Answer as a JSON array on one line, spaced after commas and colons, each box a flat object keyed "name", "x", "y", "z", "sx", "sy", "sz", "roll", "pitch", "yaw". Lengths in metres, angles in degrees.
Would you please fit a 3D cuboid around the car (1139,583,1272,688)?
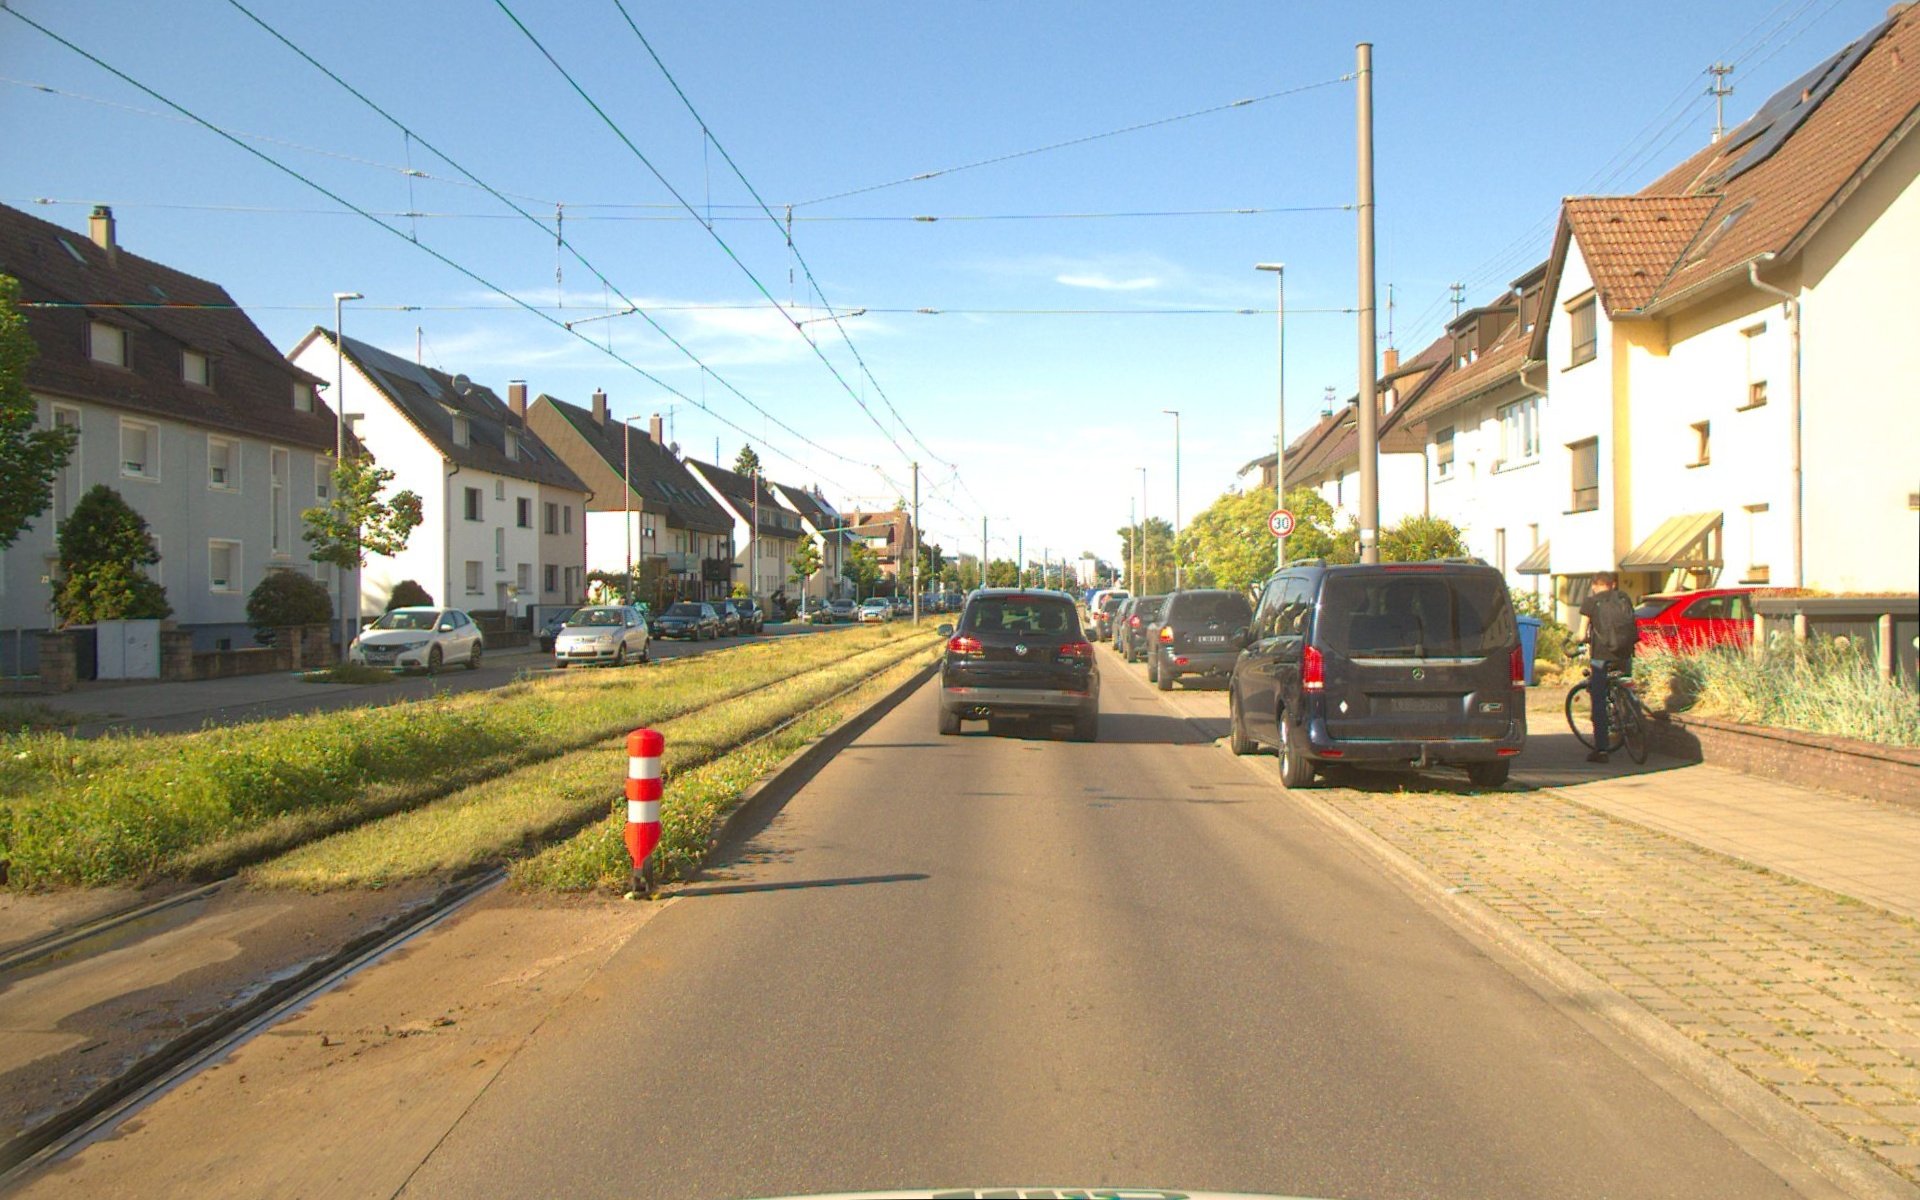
[{"name": "car", "x": 4.246, "y": 0.570, "z": 29.205, "sx": 1.815, "sy": 1.688, "sz": 4.475, "roll": -1, "pitch": 0, "yaw": 2}]

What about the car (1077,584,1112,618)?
[{"name": "car", "x": 7.881, "y": 0.037, "z": 97.186, "sx": 1.952, "sy": 1.894, "sz": 4.919, "roll": -1, "pitch": 0, "yaw": 3}]

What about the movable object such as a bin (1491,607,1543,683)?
[{"name": "movable object such as a bin", "x": 8.527, "y": 0.685, "z": 25.339, "sx": 0.654, "sy": 1.133, "sz": 0.318, "roll": -2, "pitch": 0, "yaw": 3}]

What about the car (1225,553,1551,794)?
[{"name": "car", "x": 3.742, "y": 0.570, "z": 15.421, "sx": 1.921, "sy": 1.868, "sz": 4.928, "roll": -1, "pitch": 0, "yaw": 2}]

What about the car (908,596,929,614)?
[{"name": "car", "x": -3.917, "y": 0.450, "z": 155.651, "sx": 1.625, "sy": 1.609, "sz": 4.001, "roll": -1, "pitch": -2, "yaw": 4}]

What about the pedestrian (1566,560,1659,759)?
[{"name": "pedestrian", "x": 5.915, "y": 0.526, "z": 15.010, "sx": 0.570, "sy": 1.753, "sz": 0.715, "roll": -1, "pitch": 0, "yaw": 3}]

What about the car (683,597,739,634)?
[{"name": "car", "x": -10.595, "y": 0.630, "z": 70.640, "sx": 1.488, "sy": 1.501, "sz": 4.203, "roll": 0, "pitch": 0, "yaw": 4}]

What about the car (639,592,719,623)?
[{"name": "car", "x": -15.313, "y": 0.382, "z": 90.319, "sx": 4.080, "sy": 1.645, "sz": 1.759, "roll": -1, "pitch": 0, "yaw": -1}]

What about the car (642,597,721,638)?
[{"name": "car", "x": -10.931, "y": 0.664, "z": 65.189, "sx": 1.837, "sy": 1.549, "sz": 4.883, "roll": 0, "pitch": 0, "yaw": 6}]

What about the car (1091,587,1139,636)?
[{"name": "car", "x": 5.948, "y": 0.407, "z": 63.776, "sx": 1.654, "sy": 1.808, "sz": 4.658, "roll": -1, "pitch": 0, "yaw": 4}]

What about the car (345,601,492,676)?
[{"name": "car", "x": -12.060, "y": 0.817, "z": 37.121, "sx": 1.657, "sy": 1.544, "sz": 4.216, "roll": -1, "pitch": 0, "yaw": 4}]

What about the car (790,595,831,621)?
[{"name": "car", "x": -8.821, "y": 0.471, "z": 97.553, "sx": 1.584, "sy": 1.478, "sz": 3.721, "roll": -1, "pitch": 0, "yaw": 8}]

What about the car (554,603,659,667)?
[{"name": "car", "x": -8.500, "y": 0.820, "z": 40.003, "sx": 1.517, "sy": 1.436, "sz": 3.661, "roll": -1, "pitch": 0, "yaw": 4}]

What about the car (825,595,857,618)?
[{"name": "car", "x": -7.920, "y": 0.445, "z": 110.276, "sx": 1.585, "sy": 1.434, "sz": 3.719, "roll": -1, "pitch": -2, "yaw": 4}]

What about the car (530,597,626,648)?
[{"name": "car", "x": -11.716, "y": 0.663, "z": 50.974, "sx": 1.753, "sy": 1.488, "sz": 4.168, "roll": -1, "pitch": 0, "yaw": 4}]

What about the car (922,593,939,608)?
[{"name": "car", "x": -2.858, "y": 0.053, "z": 161.001, "sx": 1.483, "sy": 1.385, "sz": 3.591, "roll": -1, "pitch": 0, "yaw": 2}]

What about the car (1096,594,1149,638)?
[{"name": "car", "x": 5.666, "y": 0.558, "z": 58.073, "sx": 1.636, "sy": 1.478, "sz": 4.127, "roll": -1, "pitch": 0, "yaw": 3}]

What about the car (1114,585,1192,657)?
[{"name": "car", "x": 4.607, "y": 0.473, "z": 39.892, "sx": 1.631, "sy": 1.574, "sz": 3.837, "roll": -3, "pitch": 0, "yaw": 4}]

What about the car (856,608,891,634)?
[{"name": "car", "x": -5.225, "y": 1.300, "z": 100.026, "sx": 1.672, "sy": 1.517, "sz": 4.025, "roll": -1, "pitch": -2, "yaw": 4}]

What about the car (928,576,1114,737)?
[{"name": "car", "x": 0.619, "y": 0.617, "z": 19.923, "sx": 1.776, "sy": 1.700, "sz": 4.254, "roll": 1, "pitch": 0, "yaw": -4}]

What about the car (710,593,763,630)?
[{"name": "car", "x": -10.255, "y": 0.511, "z": 76.154, "sx": 1.766, "sy": 1.625, "sz": 4.812, "roll": -1, "pitch": 0, "yaw": 0}]

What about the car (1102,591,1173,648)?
[{"name": "car", "x": 4.889, "y": 0.525, "z": 46.040, "sx": 1.582, "sy": 1.501, "sz": 4.450, "roll": -1, "pitch": 0, "yaw": 1}]

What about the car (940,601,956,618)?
[{"name": "car", "x": -1.282, "y": 1.026, "z": 178.324, "sx": 1.434, "sy": 1.706, "sz": 3.289, "roll": -1, "pitch": -1, "yaw": 3}]

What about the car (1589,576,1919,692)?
[{"name": "car", "x": 11.270, "y": 0.446, "z": 23.348, "sx": 4.078, "sy": 1.493, "sz": 1.901, "roll": -1, "pitch": 1, "yaw": 1}]

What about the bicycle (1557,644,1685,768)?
[{"name": "bicycle", "x": 5.904, "y": 0.920, "z": 14.844, "sx": 0.588, "sy": 0.997, "sz": 1.563, "roll": -2, "pitch": 0, "yaw": 4}]

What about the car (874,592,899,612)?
[{"name": "car", "x": -5.898, "y": 0.162, "z": 133.351, "sx": 1.624, "sy": 1.523, "sz": 3.581, "roll": -1, "pitch": 0, "yaw": 4}]

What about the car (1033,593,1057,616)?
[{"name": "car", "x": 5.578, "y": 0.273, "z": 108.250, "sx": 1.539, "sy": 1.415, "sz": 3.616, "roll": -1, "pitch": 0, "yaw": 3}]
